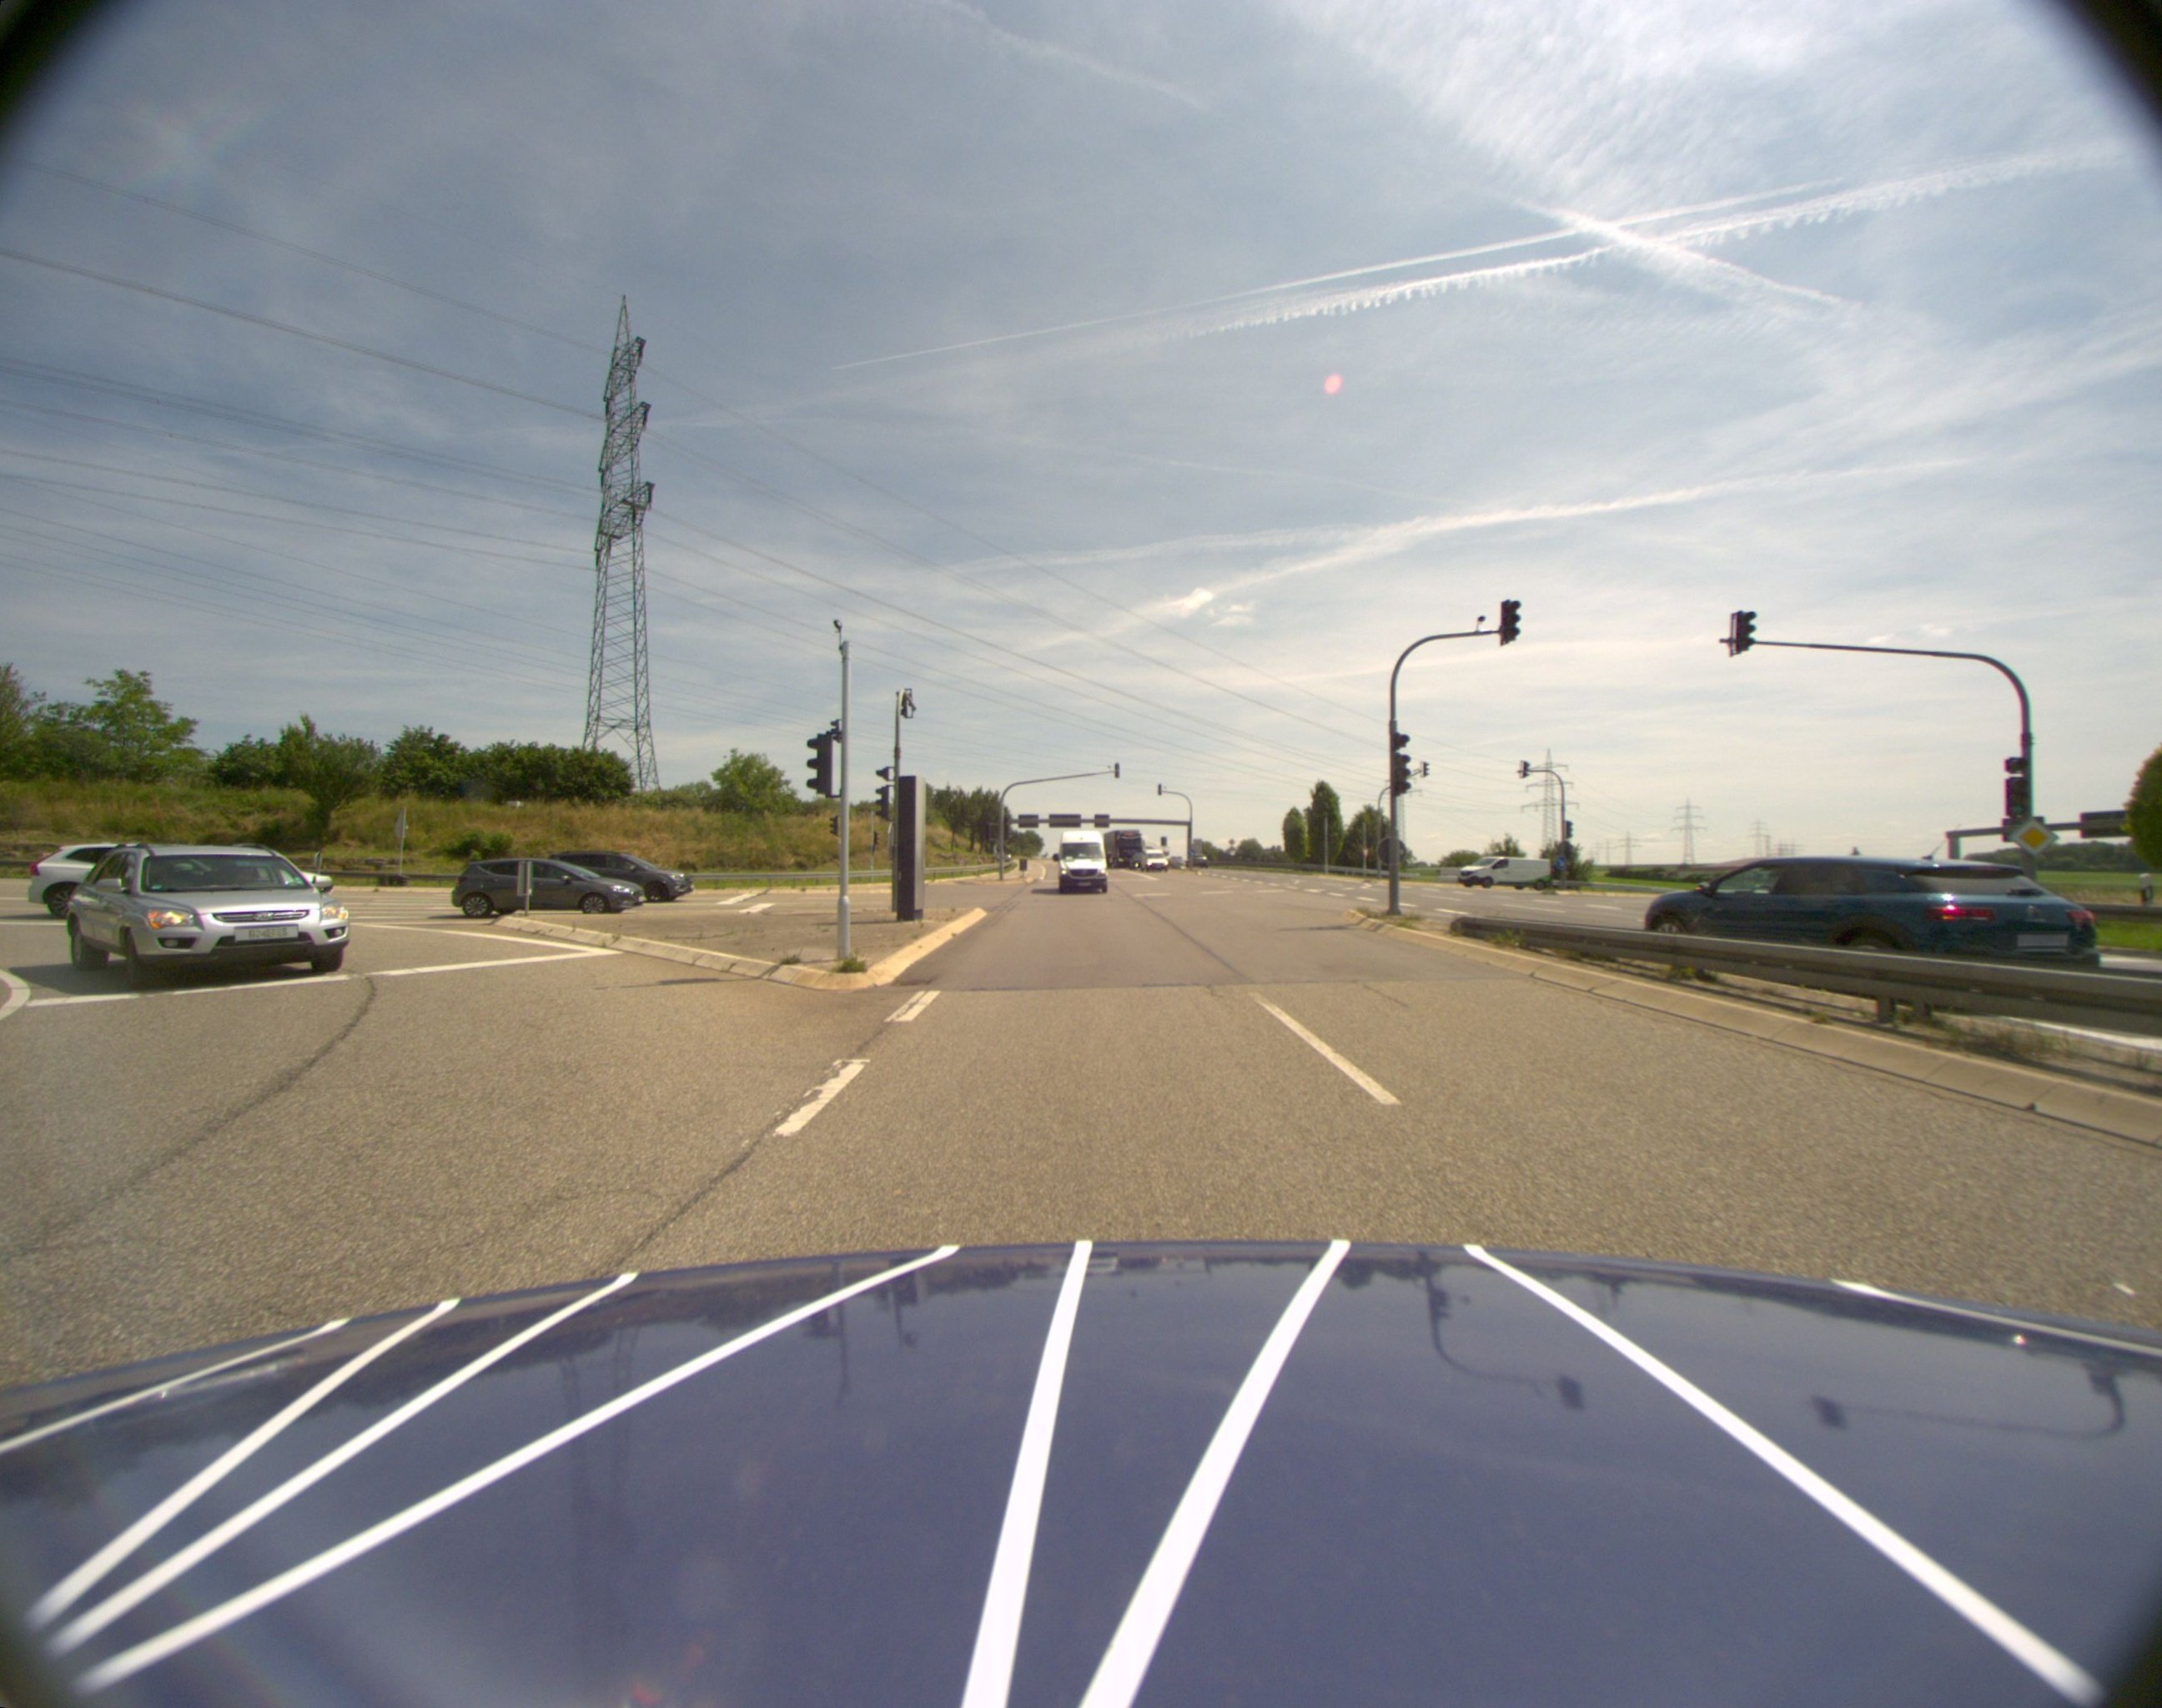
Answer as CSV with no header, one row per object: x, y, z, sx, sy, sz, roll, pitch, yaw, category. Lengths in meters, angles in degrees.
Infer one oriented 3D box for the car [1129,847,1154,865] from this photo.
5.657,0.157,71.393,1.861,1.648,4.347,-1,1,-2,car

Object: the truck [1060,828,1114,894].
0.159,0.250,32.304,1.999,2.518,5.103,-1,1,-3,truck

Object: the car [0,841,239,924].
-21.964,0.604,16.672,4.375,1.583,1.778,3,0,-13,car

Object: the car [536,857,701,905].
-15.291,0.872,25.371,4.375,1.502,1.713,1,1,-16,car

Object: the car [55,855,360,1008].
-11.761,0.851,10.183,4.360,1.645,1.840,0,1,30,car

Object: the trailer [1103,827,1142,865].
4.574,-0.923,86.197,2.791,3.891,13.780,-1,1,-3,trailer

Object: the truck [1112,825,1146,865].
4.964,-0.929,79.409,2.791,3.990,5.968,-1,1,-3,truck

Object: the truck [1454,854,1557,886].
25.473,0.924,45.690,5.283,1.746,1.998,1,1,-10,truck

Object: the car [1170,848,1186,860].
13.172,-0.002,103.556,1.648,1.488,3.800,1,1,0,car

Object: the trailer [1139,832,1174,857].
12.067,-1.602,123.920,2.647,3.742,19.788,0,1,-3,trailer

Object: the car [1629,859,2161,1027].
8.847,0.810,8.910,1.760,1.460,4.195,0,0,-1,car

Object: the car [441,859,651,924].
-13.401,0.888,19.320,4.003,1.502,1.713,0,1,-16,car

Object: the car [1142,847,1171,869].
6.234,0.297,63.143,1.772,1.788,4.751,-1,1,-1,car

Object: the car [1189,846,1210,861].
13.622,-0.031,87.771,1.648,1.614,4.326,2,1,-1,car
